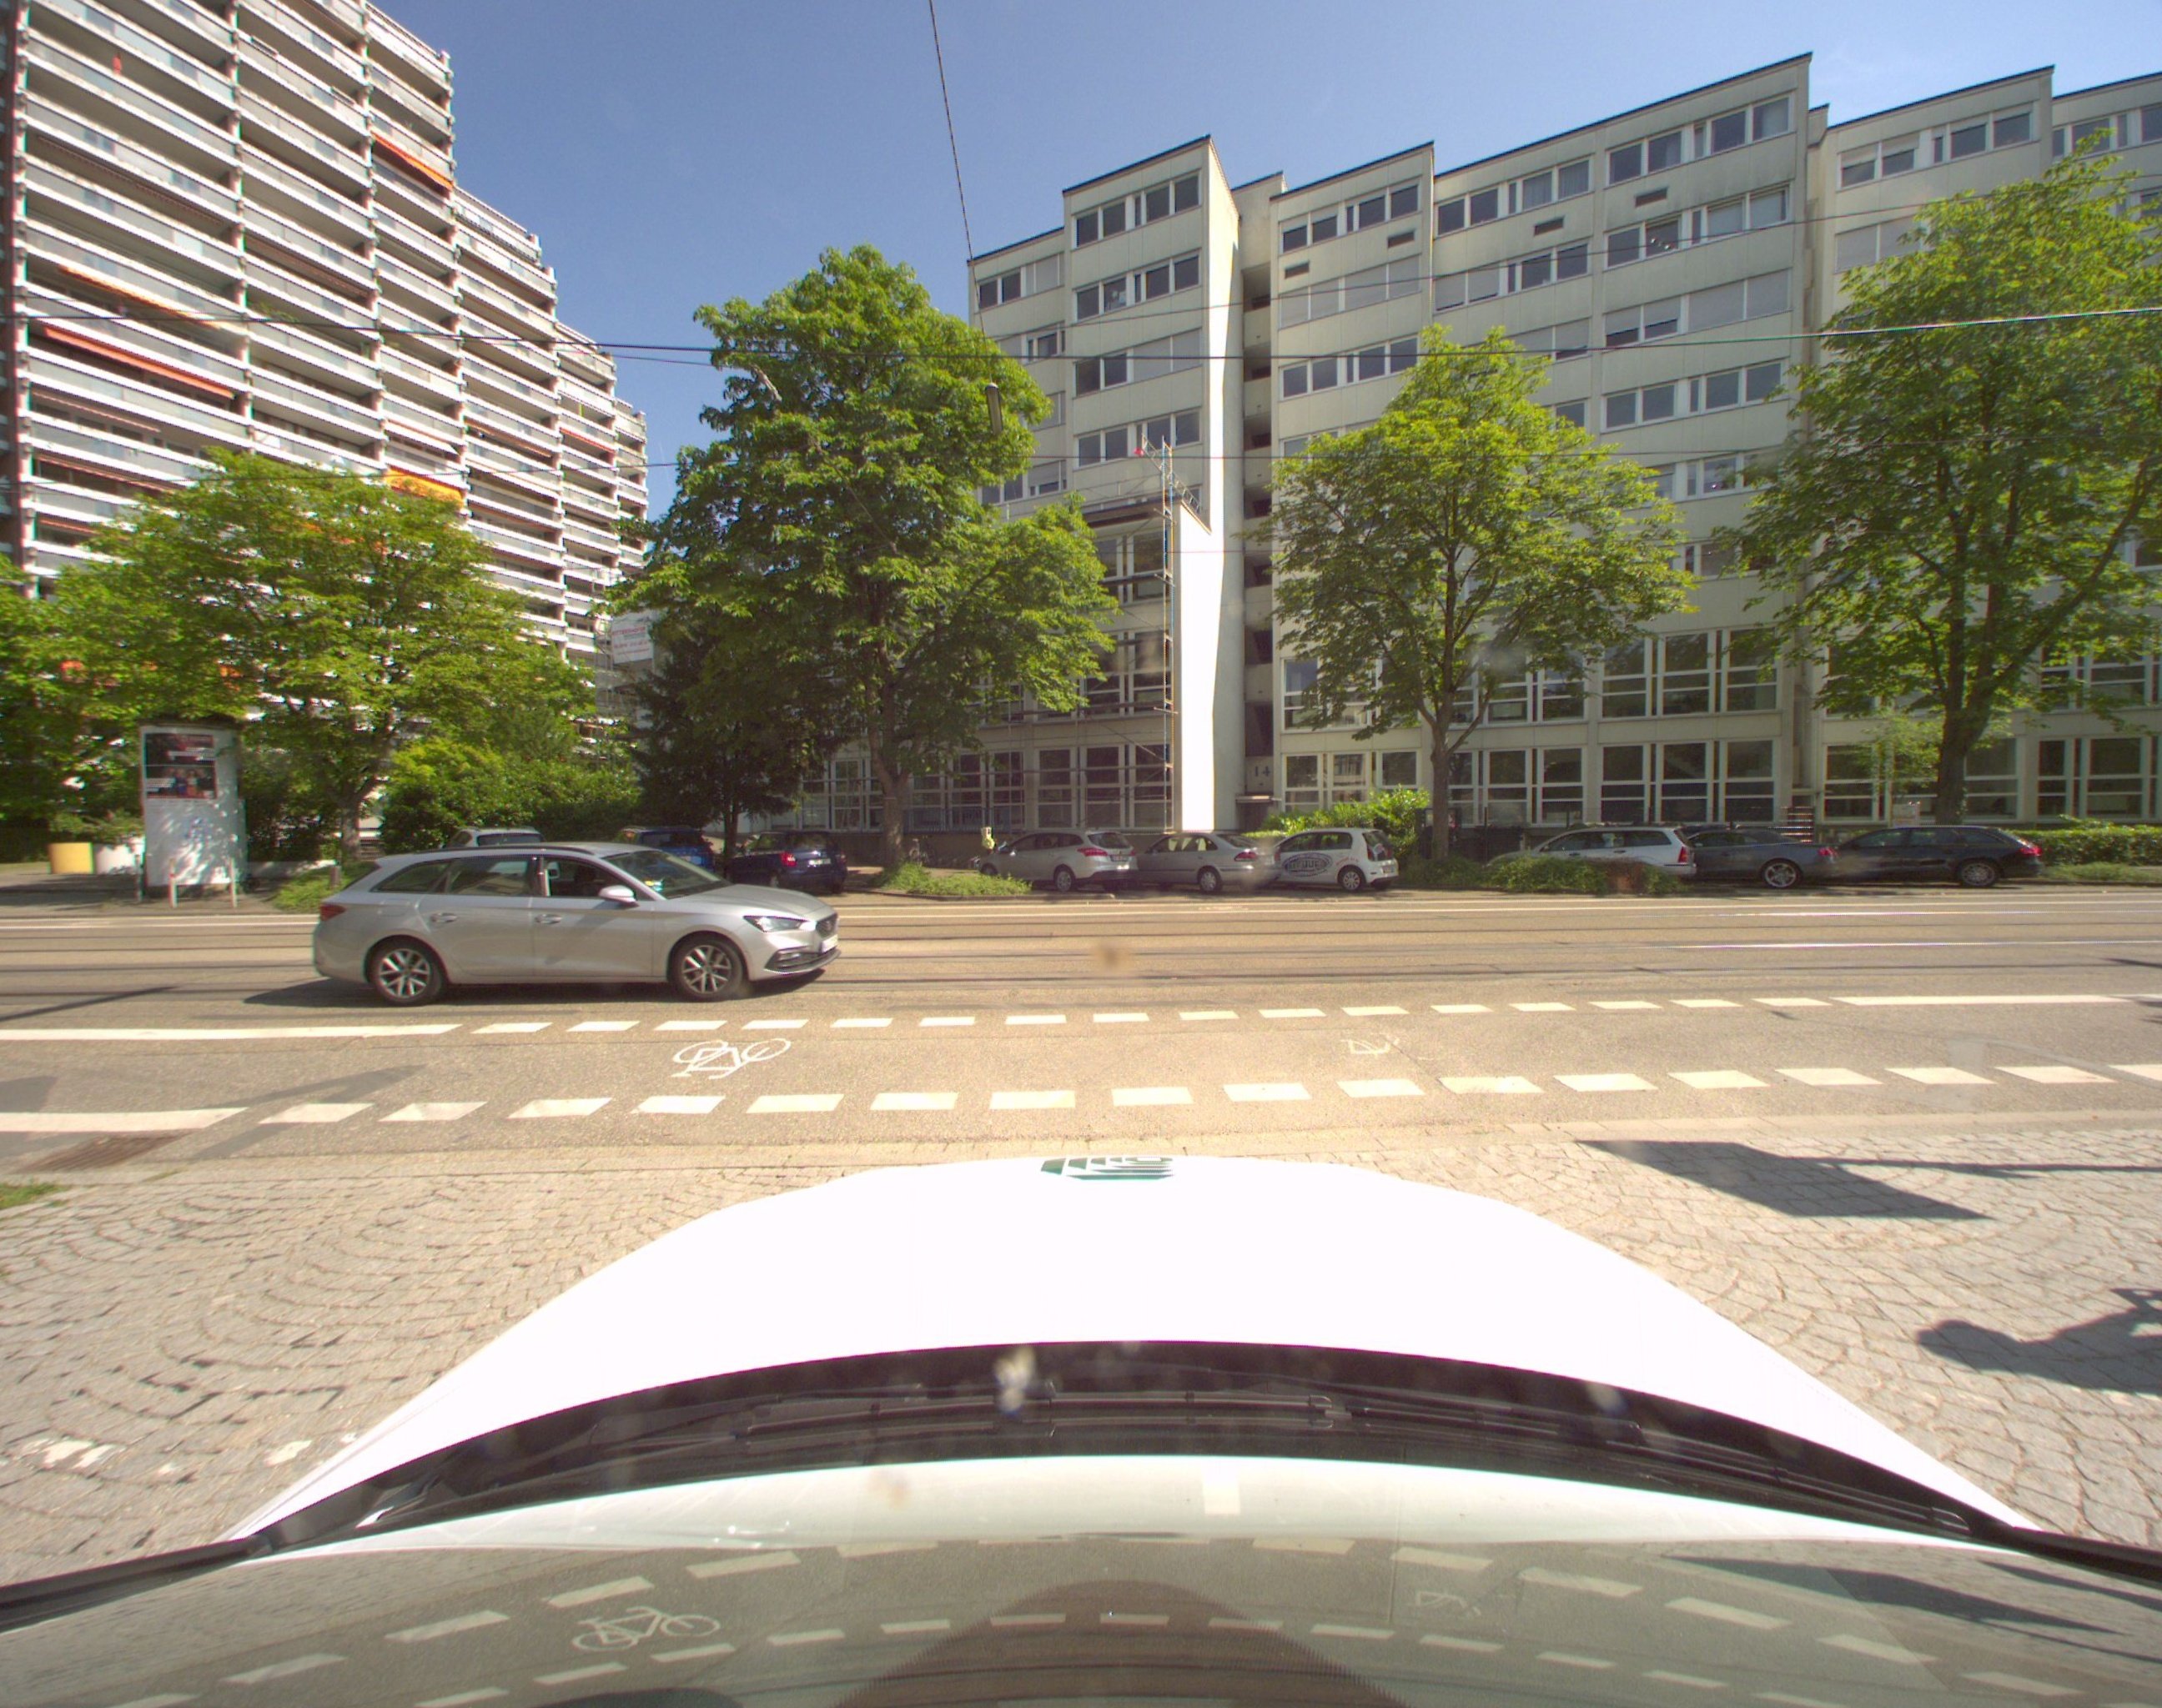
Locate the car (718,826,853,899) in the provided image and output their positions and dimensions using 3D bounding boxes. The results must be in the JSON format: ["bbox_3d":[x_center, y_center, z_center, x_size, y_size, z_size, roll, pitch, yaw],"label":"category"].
[{"bbox_3d":[-6.942,0.134,18.988,3.415,1.530,1.586,1,2,44],"label":"car"}]

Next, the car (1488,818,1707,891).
[{"bbox_3d":[12.401,-0.022,19.725,4.289,1.604,1.568,1,1,41],"label":"car"}]

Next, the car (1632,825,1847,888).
[{"bbox_3d":[15.697,0.012,19.544,3.896,1.357,1.568,1,2,44],"label":"car"}]

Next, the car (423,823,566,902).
[{"bbox_3d":[-13.455,0.122,18.615,3.895,1.606,1.831,1,2,42],"label":"car"}]

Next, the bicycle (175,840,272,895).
[{"bbox_3d":[-21.060,0.313,20.021,1.614,1.308,0.546,-1,1,-7],"label":"bicycle"}]

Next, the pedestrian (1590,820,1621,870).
[{"bbox_3d":[15.366,-0.263,23.859,0.618,1.460,0.424,-1,1,-4],"label":"pedestrian"}]

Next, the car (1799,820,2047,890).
[{"bbox_3d":[19.426,-0.031,19.039,3.896,1.486,1.568,1,2,44],"label":"car"}]

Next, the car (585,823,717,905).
[{"bbox_3d":[-10.035,0.122,18.885,1.790,1.622,3.899,-3,4,-42],"label":"car"}]

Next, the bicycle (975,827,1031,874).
[{"bbox_3d":[-2.464,-0.145,26.085,0.655,1.453,2.103,0,2,30],"label":"bicycle"}]

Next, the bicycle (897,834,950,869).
[{"bbox_3d":[-5.191,-0.092,26.949,0.735,1.085,2.214,0,2,18],"label":"bicycle"}]

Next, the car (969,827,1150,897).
[{"bbox_3d":[-0.610,0.124,19.572,4.380,1.486,1.795,1,2,44],"label":"car"}]

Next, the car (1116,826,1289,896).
[{"bbox_3d":[2.801,0.101,19.387,1.622,1.486,3.897,-2,2,-44],"label":"car"}]

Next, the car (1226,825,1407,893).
[{"bbox_3d":[5.599,0.088,19.659,1.623,1.486,3.896,-2,2,-45],"label":"car"}]

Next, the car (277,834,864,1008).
[{"bbox_3d":[-4.725,0.563,8.153,4.566,1.407,1.892,-1,3,-2],"label":"car"}]
